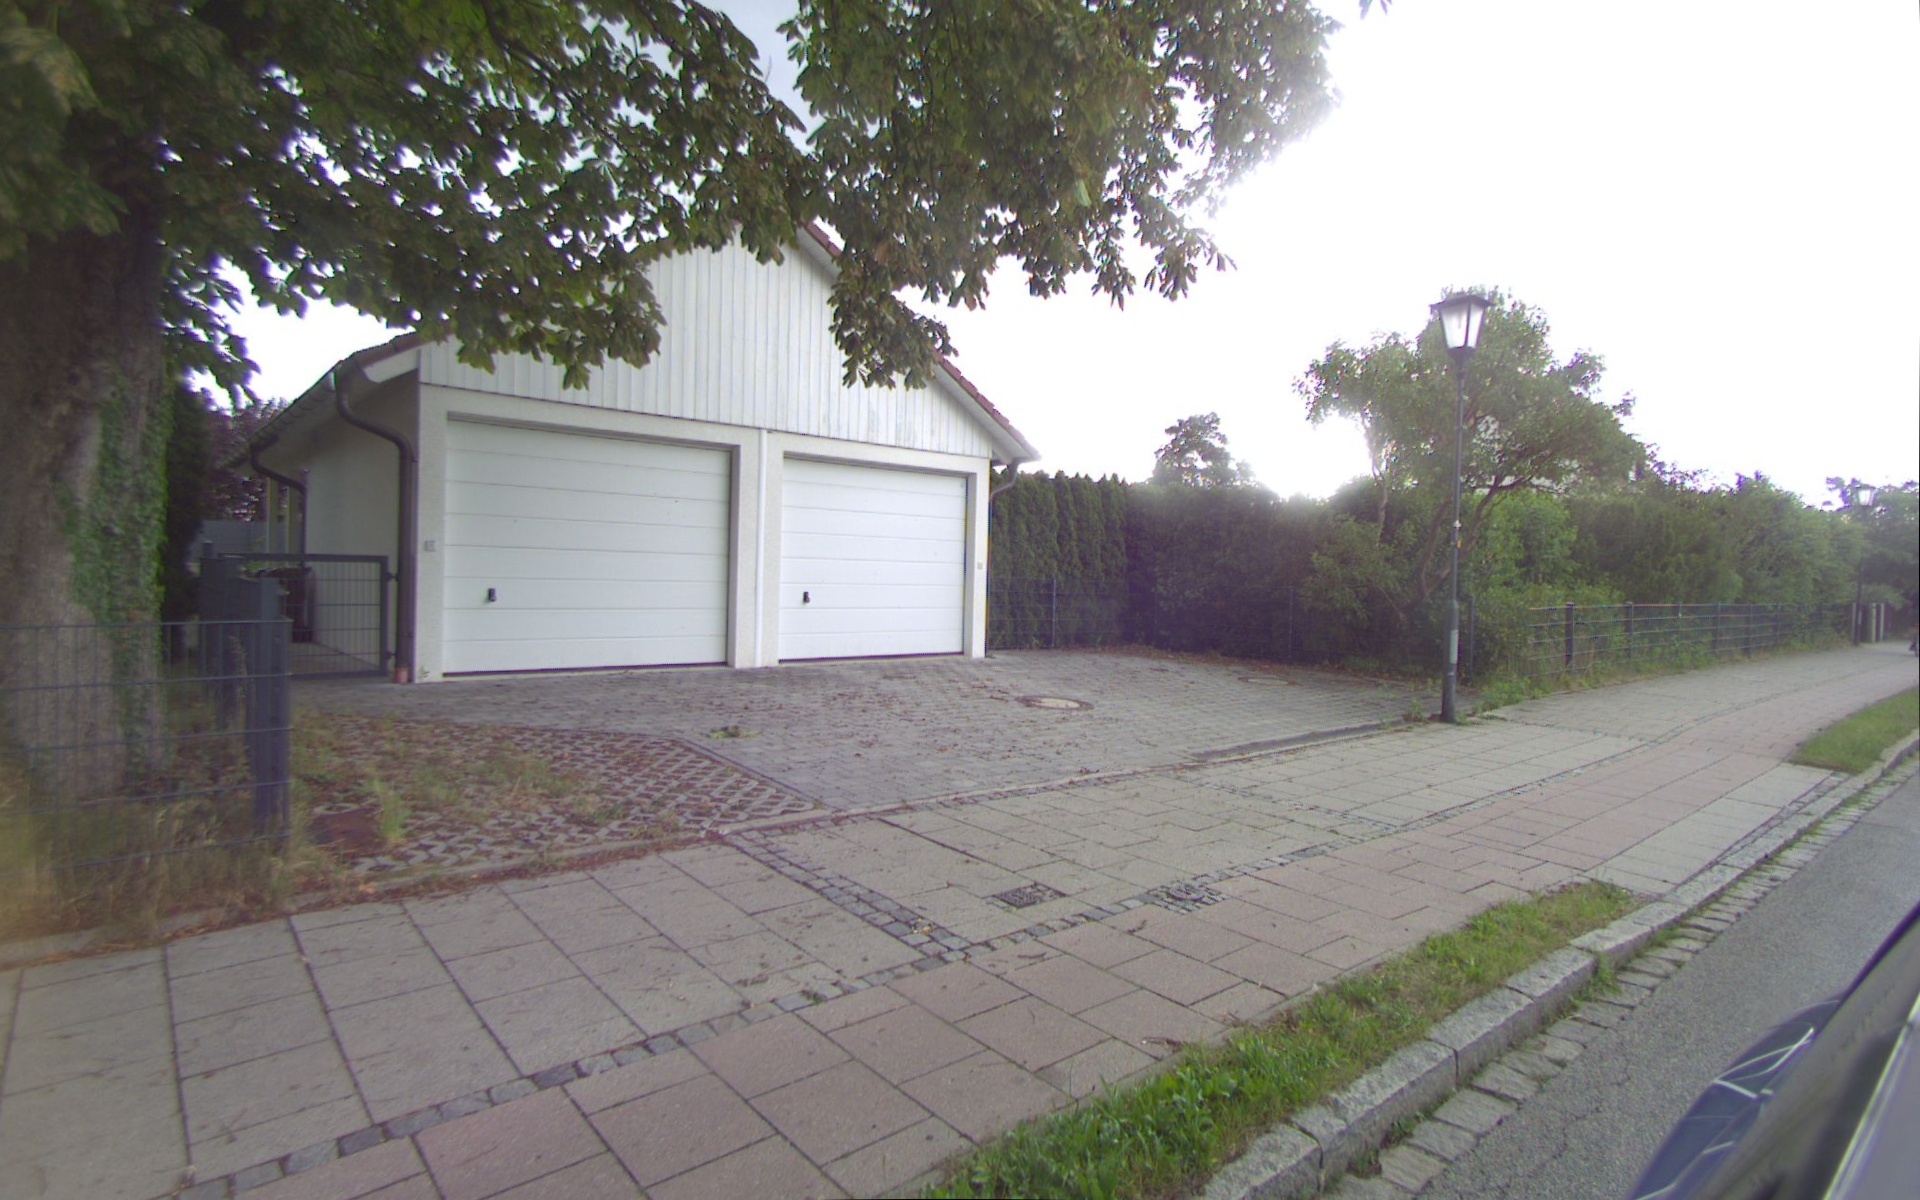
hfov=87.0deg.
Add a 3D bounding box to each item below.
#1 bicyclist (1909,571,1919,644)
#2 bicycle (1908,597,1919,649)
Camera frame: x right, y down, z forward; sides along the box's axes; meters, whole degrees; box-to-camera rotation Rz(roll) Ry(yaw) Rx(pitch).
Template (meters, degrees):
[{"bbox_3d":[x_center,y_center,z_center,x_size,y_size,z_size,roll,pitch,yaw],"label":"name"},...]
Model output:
[{"bbox_3d":[22.254,0.171,23.095,0.874,1.653,0.738,0,1,-38],"label":"bicyclist"},{"bbox_3d":[22.335,0.526,23.099,1.812,1.157,0.766,0,1,-39],"label":"bicycle"}]
